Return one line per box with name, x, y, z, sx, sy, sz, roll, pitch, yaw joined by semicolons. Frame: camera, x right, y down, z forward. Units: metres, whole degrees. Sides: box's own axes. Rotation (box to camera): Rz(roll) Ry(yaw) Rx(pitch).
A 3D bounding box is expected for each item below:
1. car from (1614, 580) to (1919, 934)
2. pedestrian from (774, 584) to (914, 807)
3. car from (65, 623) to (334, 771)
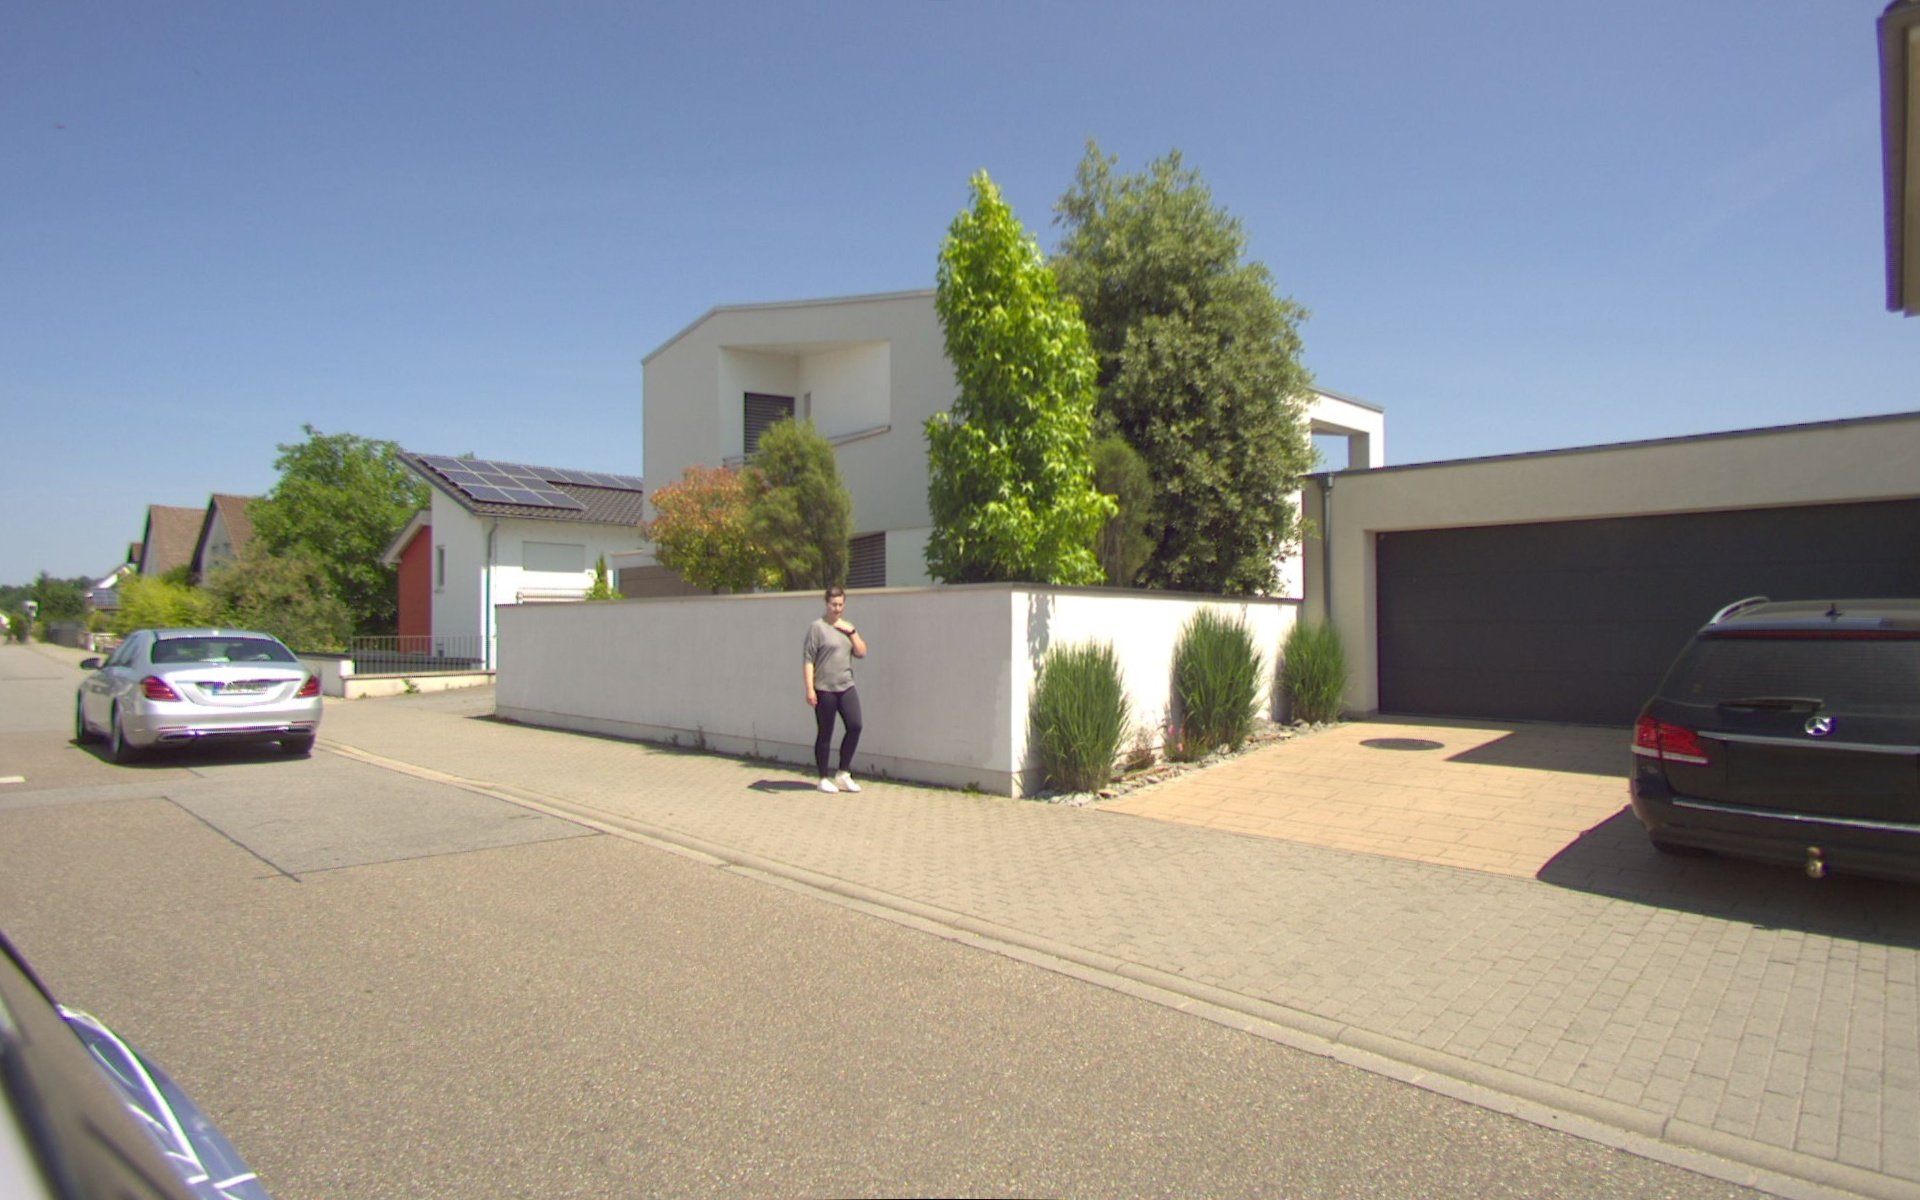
car;5.673;0.664;6.099;4.376;1.484;1.852;-3;0;-43
pedestrian;-0.991;0.761;8.605;0.961;1.760;0.706;-2;-1;45
car;-9.506;1.074;12.492;4.700;1.490;1.832;-2;-4;43
